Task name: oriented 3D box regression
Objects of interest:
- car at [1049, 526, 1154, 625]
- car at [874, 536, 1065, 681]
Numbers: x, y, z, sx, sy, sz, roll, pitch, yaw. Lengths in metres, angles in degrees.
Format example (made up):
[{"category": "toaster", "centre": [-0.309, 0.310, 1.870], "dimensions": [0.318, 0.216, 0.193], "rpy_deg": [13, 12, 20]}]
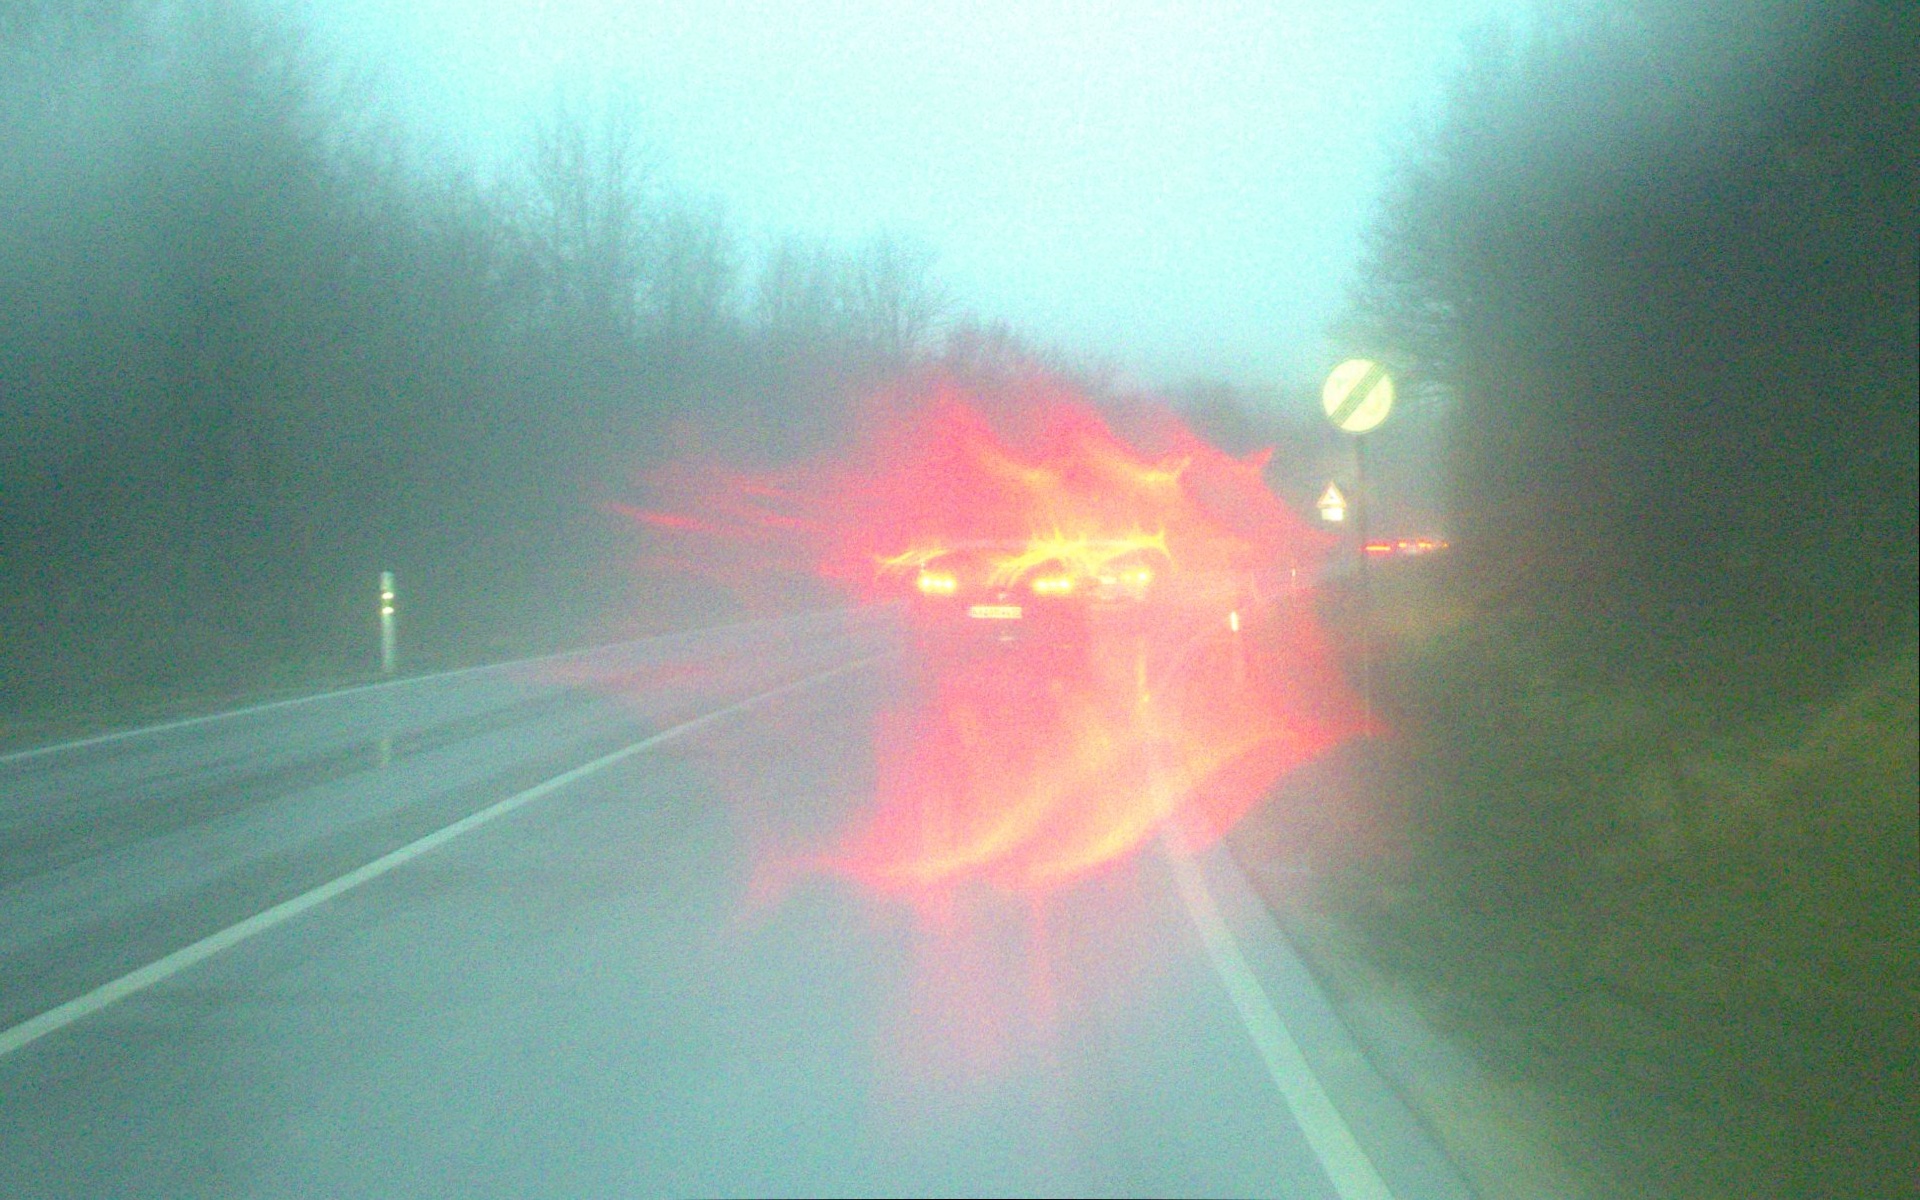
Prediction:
[{"category": "car", "centre": [2.516, -0.442, 60.297], "dimensions": [1.679, 1.669, 4.097], "rpy_deg": [0, 1, 5]}, {"category": "car", "centre": [0.152, 0.049, 34.827], "dimensions": [1.679, 1.385, 4.098], "rpy_deg": [0, 1, 4]}]
